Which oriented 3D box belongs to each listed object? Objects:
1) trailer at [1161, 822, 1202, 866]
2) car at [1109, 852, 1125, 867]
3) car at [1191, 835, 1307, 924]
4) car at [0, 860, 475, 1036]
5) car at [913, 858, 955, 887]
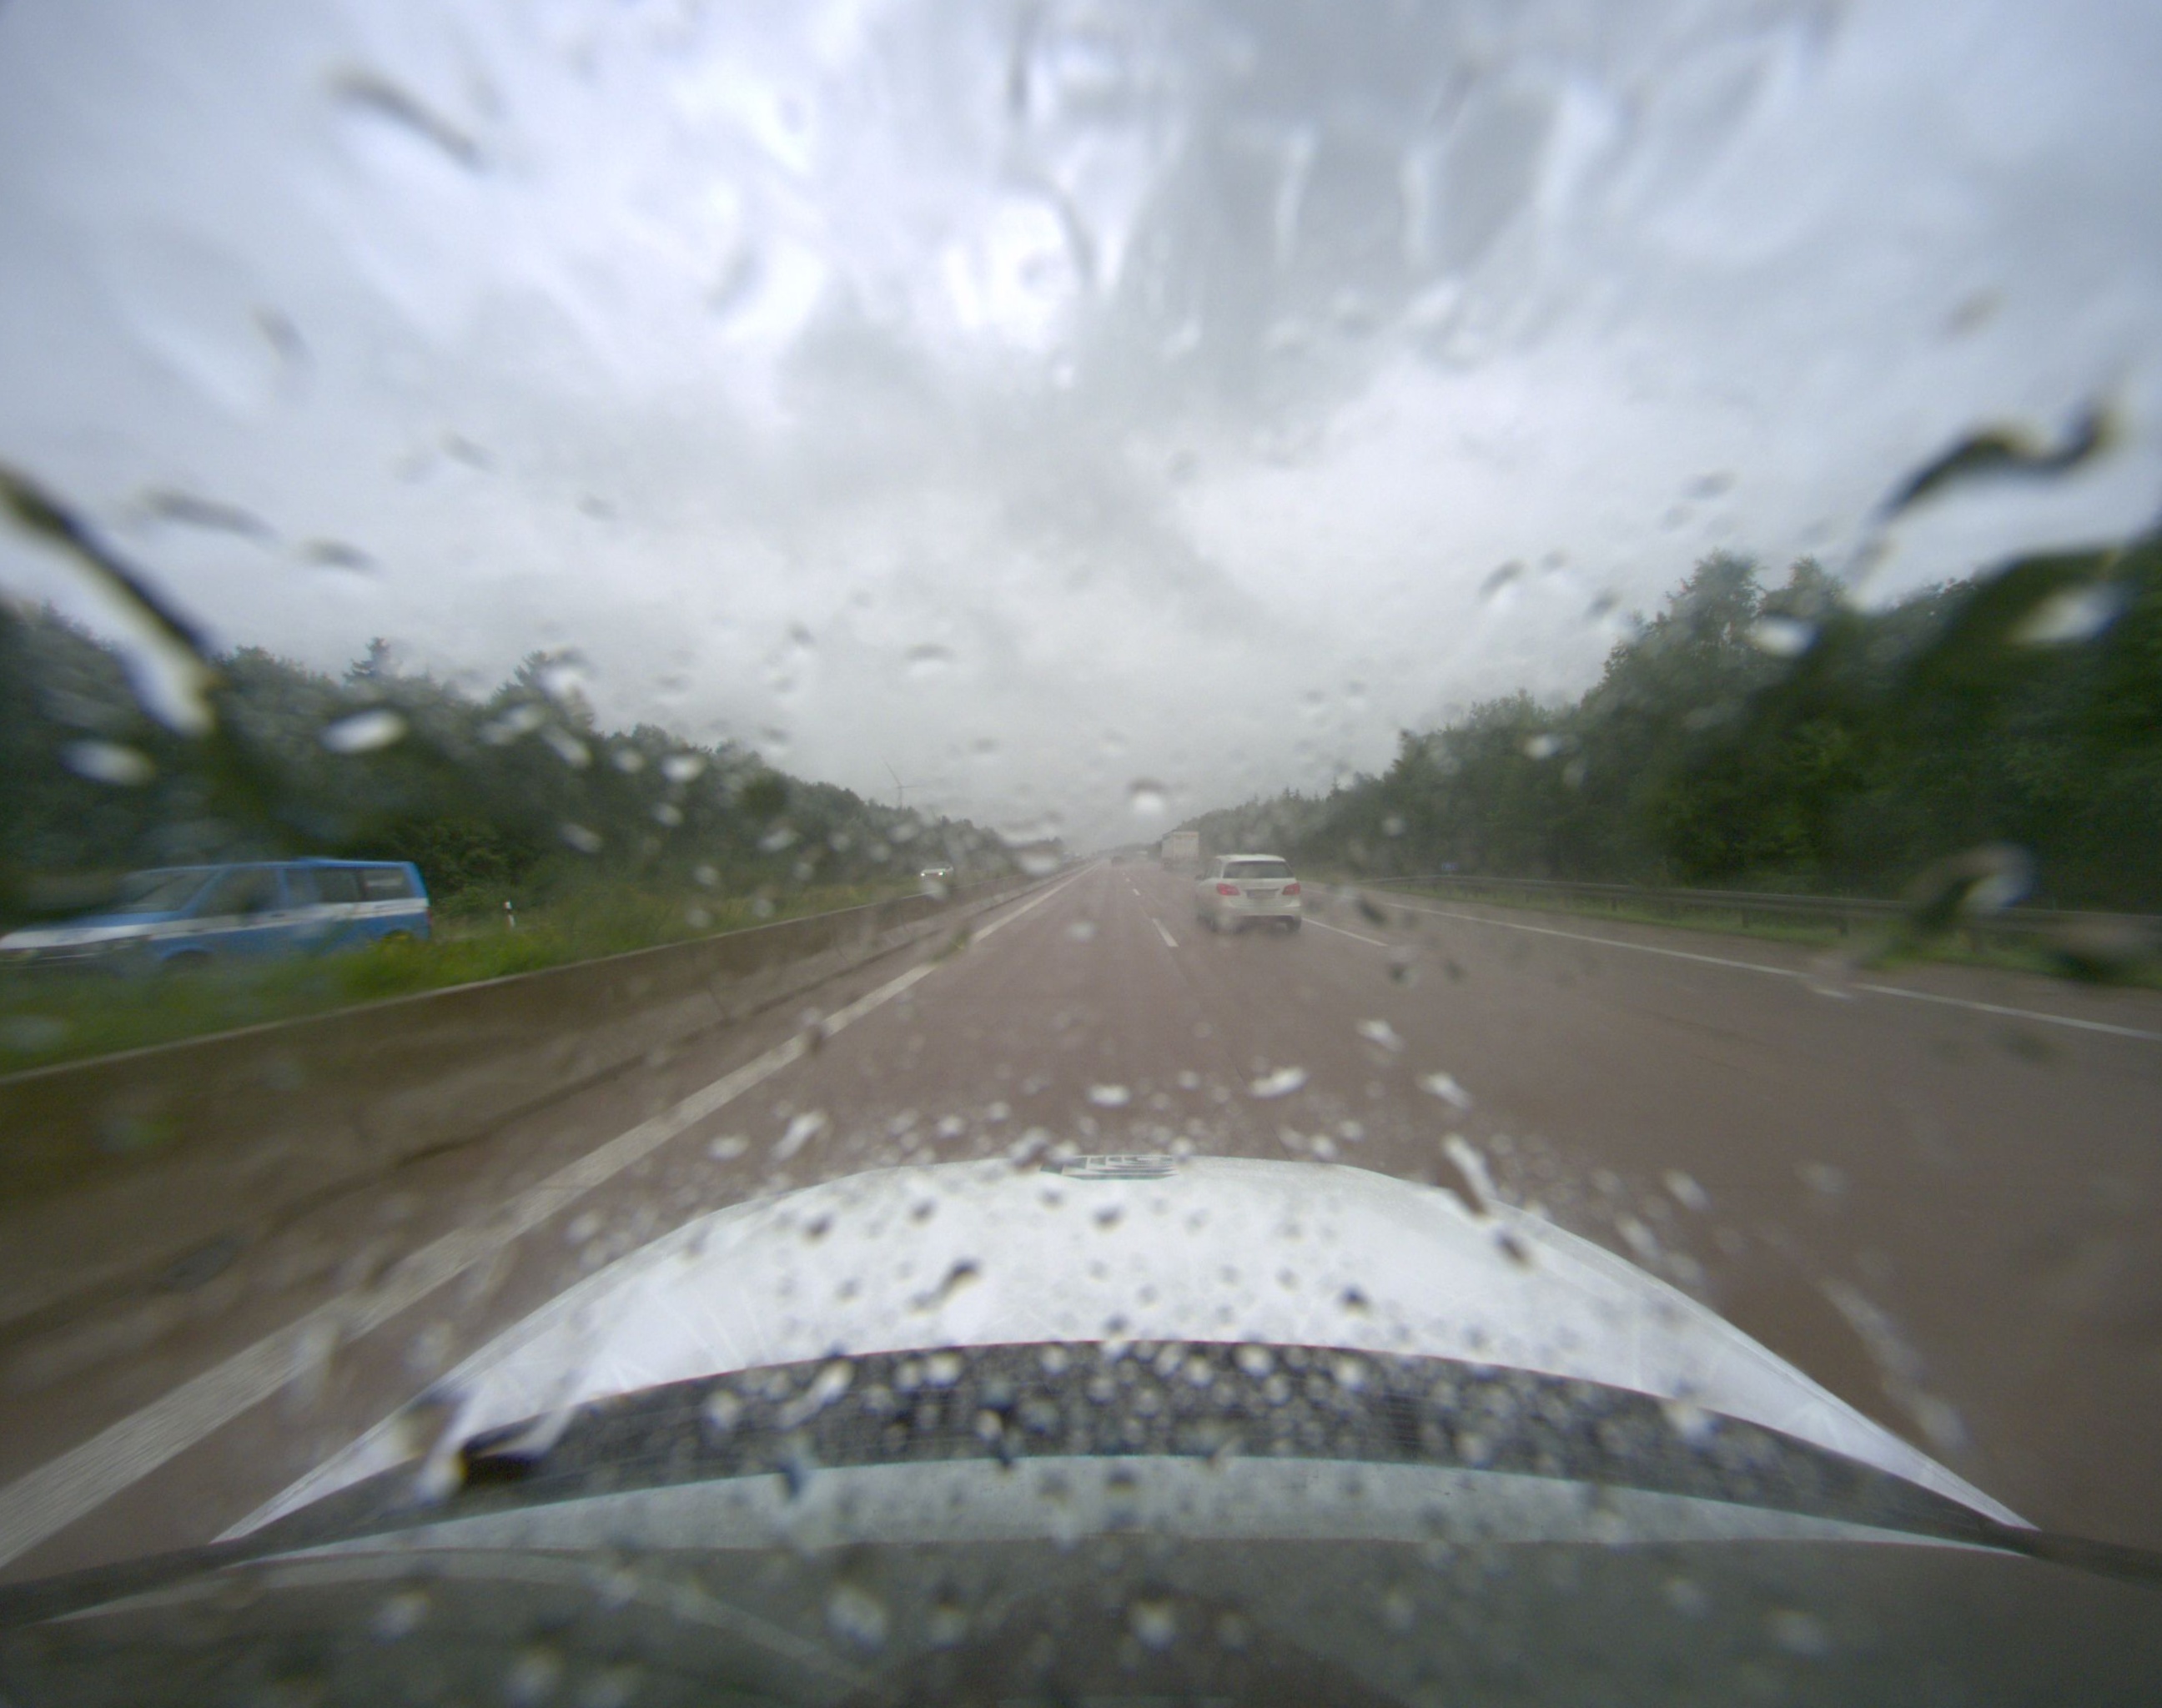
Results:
[{"bbox_3d":[10.257,-0.937,84.211,2.842,4.231,13.135,-1,0,1],"label":"trailer"},{"bbox_3d":[5.032,0.731,113.858,2.165,1.981,4.132,1,0,2],"label":"car"},{"bbox_3d":[3.587,0.498,18.210,1.801,1.728,4.746,0,0,2],"label":"car"},{"bbox_3d":[-12.476,1.122,12.319,2.298,2.014,5.663,-1,0,1],"label":"car"},{"bbox_3d":[-10.690,1.321,59.574,2.081,2.014,4.800,-1,0,1],"label":"car"}]
